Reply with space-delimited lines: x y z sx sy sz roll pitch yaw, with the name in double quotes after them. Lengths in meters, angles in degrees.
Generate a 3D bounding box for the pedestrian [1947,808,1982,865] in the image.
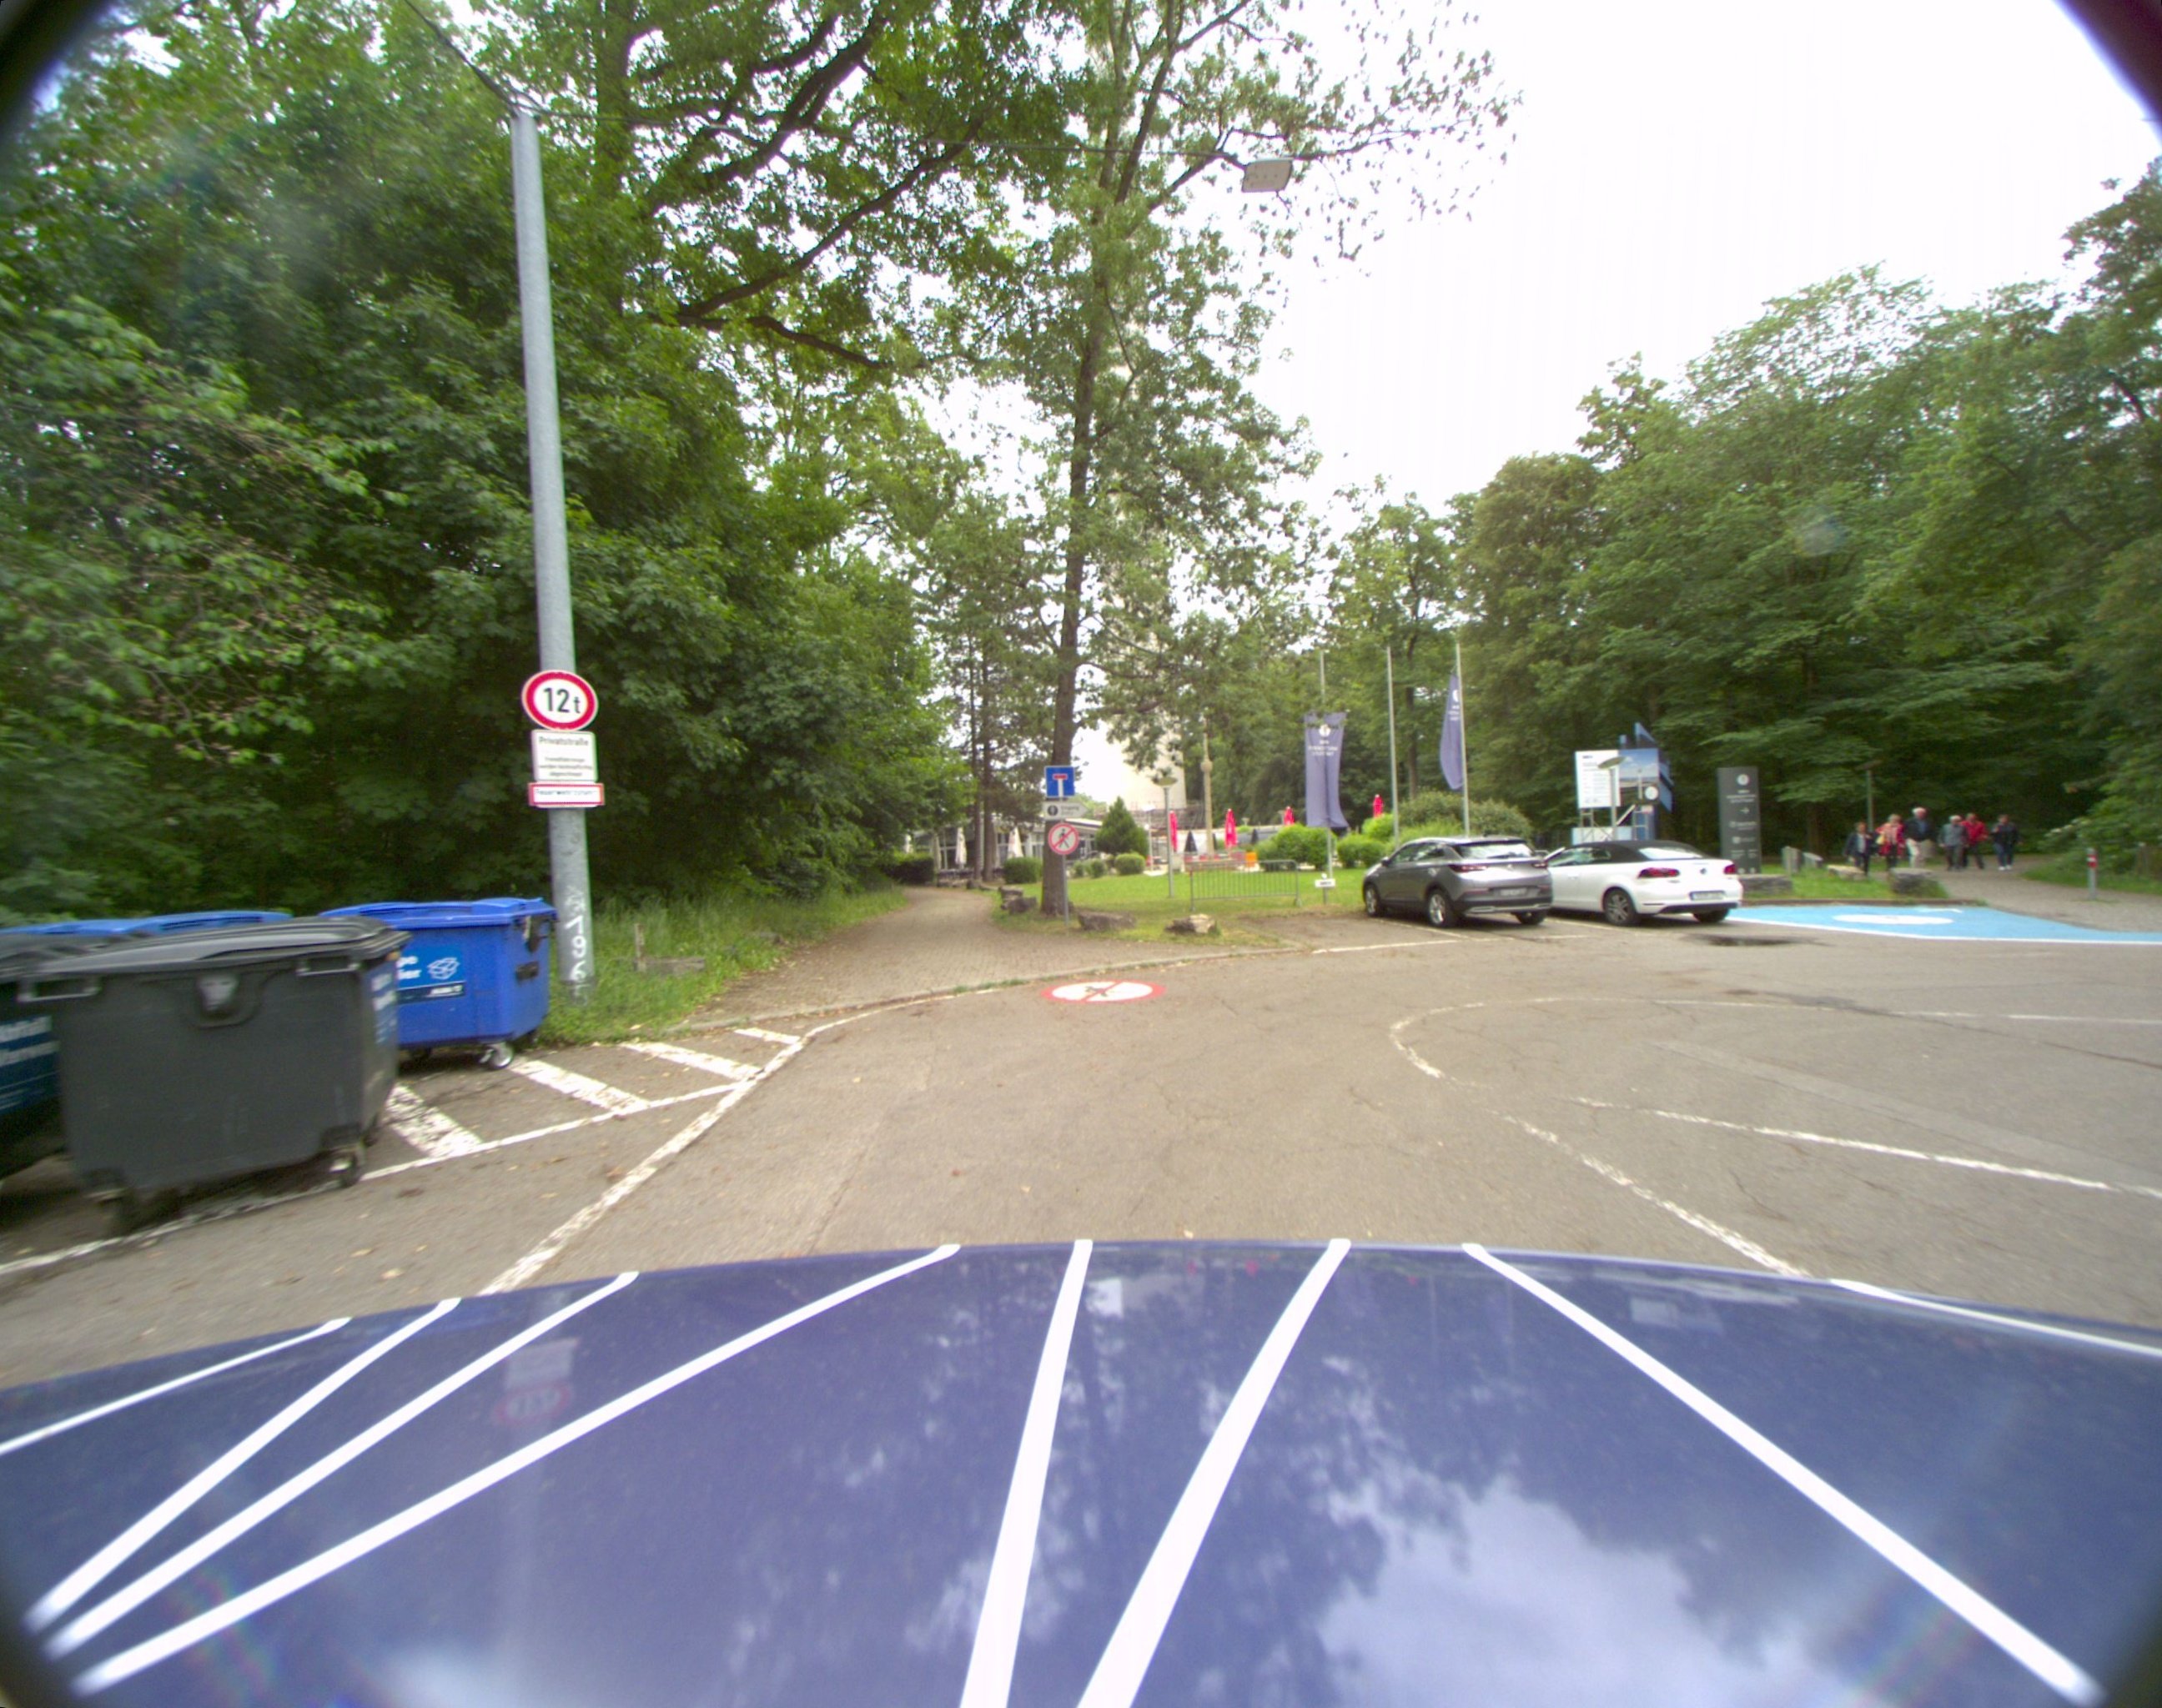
27.998 -0.562 24.088 0.715 1.758 0.680 -3 1 -44 "pedestrian"

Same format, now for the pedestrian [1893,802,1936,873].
22.848 -0.450 20.833 0.669 1.905 0.732 -3 1 -38 "pedestrian"

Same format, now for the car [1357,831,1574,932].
6.955 0.431 14.299 1.898 1.576 3.999 -2 1 -3 "car"

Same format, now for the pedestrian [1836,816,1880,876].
21.615 -0.219 21.140 0.638 1.624 0.776 -3 1 -38 "pedestrian"

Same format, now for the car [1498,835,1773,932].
9.658 0.447 13.715 1.898 1.420 3.998 -2 1 -3 "car"

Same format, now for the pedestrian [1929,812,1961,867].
26.550 -0.446 23.349 0.606 1.663 0.607 -3 1 -44 "pedestrian"

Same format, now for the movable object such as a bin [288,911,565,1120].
-5.091 1.191 6.065 1.258 1.317 1.145 -3 1 -16 "movable object such as a bin"

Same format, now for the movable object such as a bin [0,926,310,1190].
-6.053 1.192 4.771 1.127 1.312 1.239 -2 1 -8 "movable object such as a bin"

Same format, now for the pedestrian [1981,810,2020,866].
27.937 -0.492 23.088 0.664 1.663 0.680 -3 1 -44 "pedestrian"

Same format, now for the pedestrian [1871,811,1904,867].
25.925 -0.470 24.437 0.606 1.752 0.682 -3 1 -44 "pedestrian"

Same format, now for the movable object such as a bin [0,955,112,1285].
-5.213 1.182 3.139 1.129 1.307 1.182 -3 1 -33 "movable object such as a bin"

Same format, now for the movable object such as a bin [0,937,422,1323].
-4.168 1.163 3.749 1.174 1.299 1.310 -3 1 -33 "movable object such as a bin"
